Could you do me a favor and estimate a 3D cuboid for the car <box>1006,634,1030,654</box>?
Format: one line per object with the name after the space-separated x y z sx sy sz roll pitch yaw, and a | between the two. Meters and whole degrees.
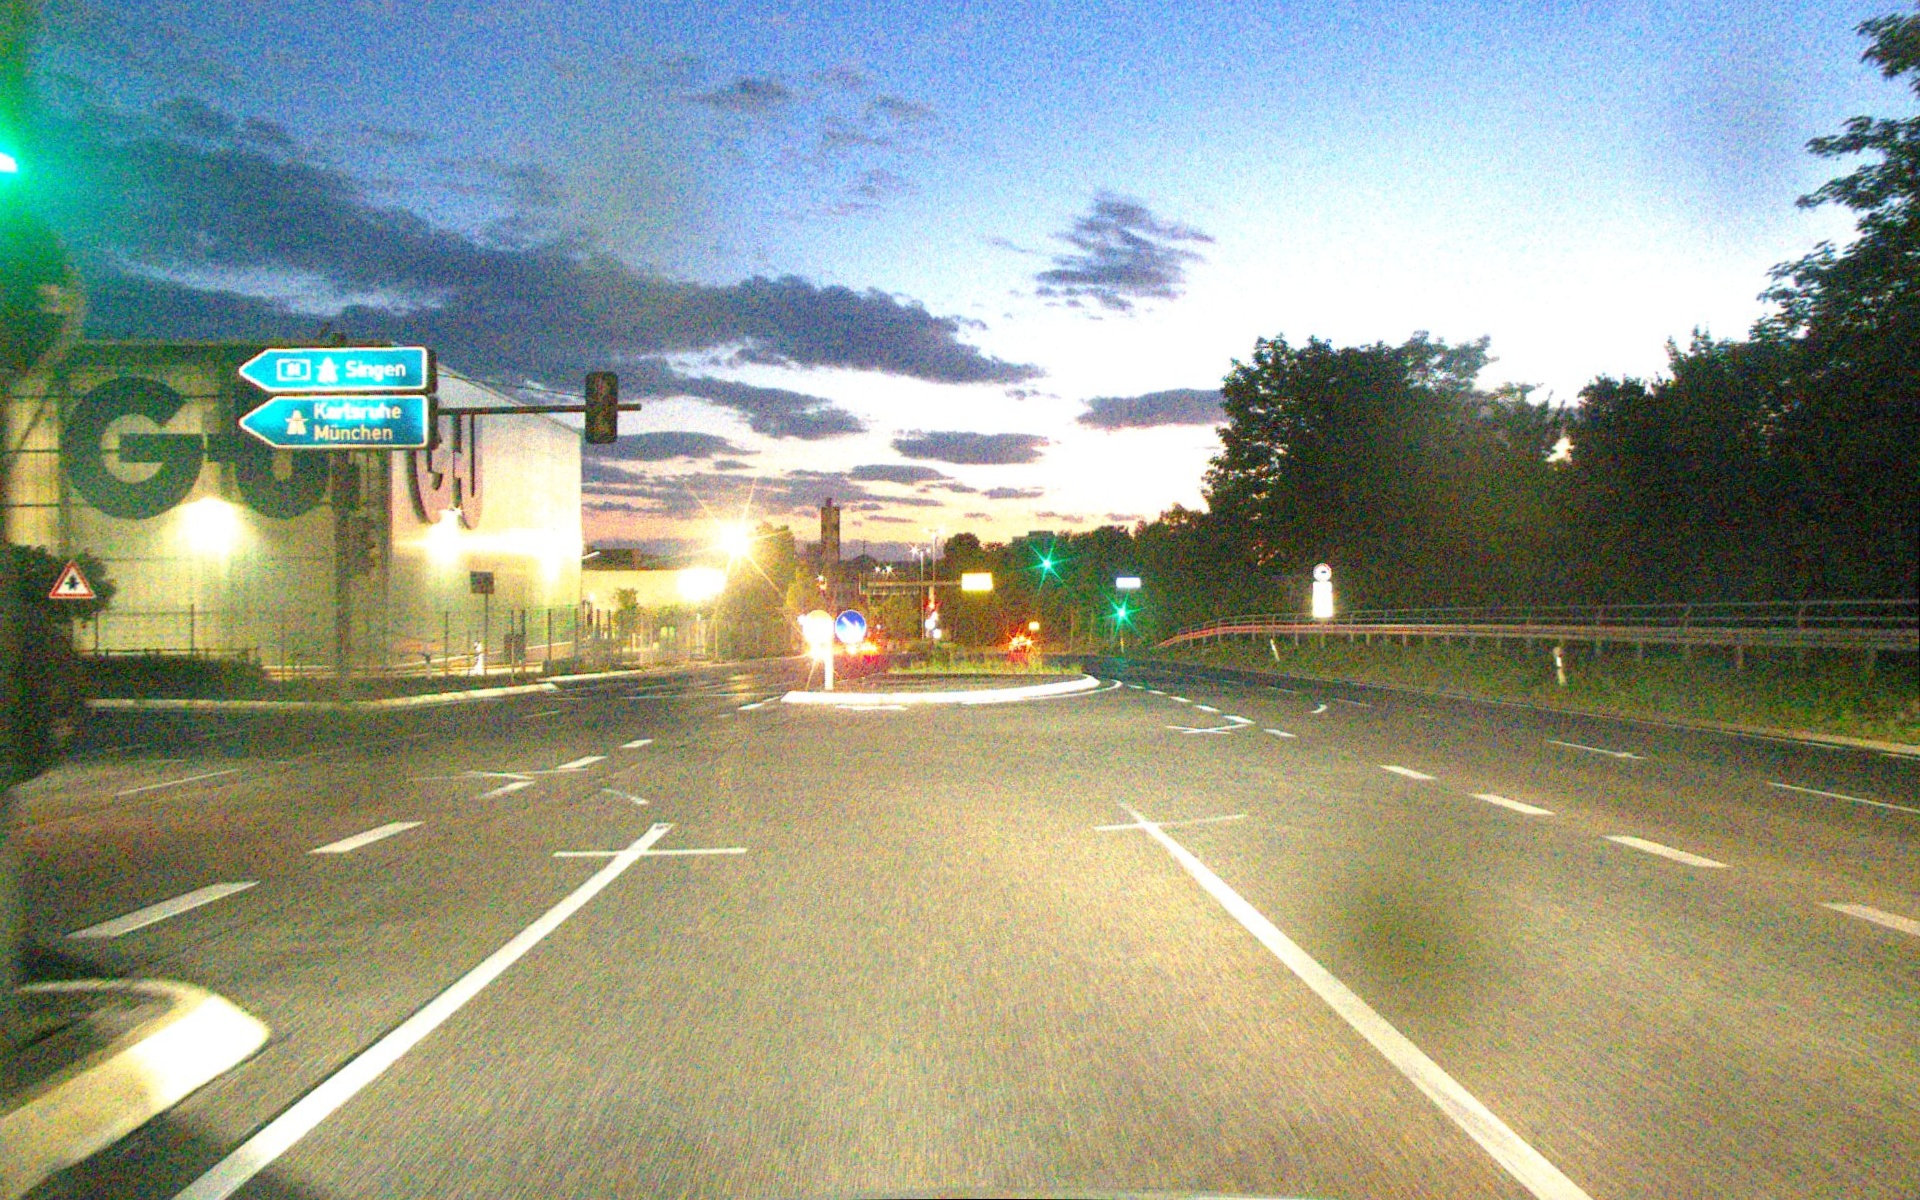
5.301 3.996 151.120 1.896 1.675 3.998 0 0 -2 | car
